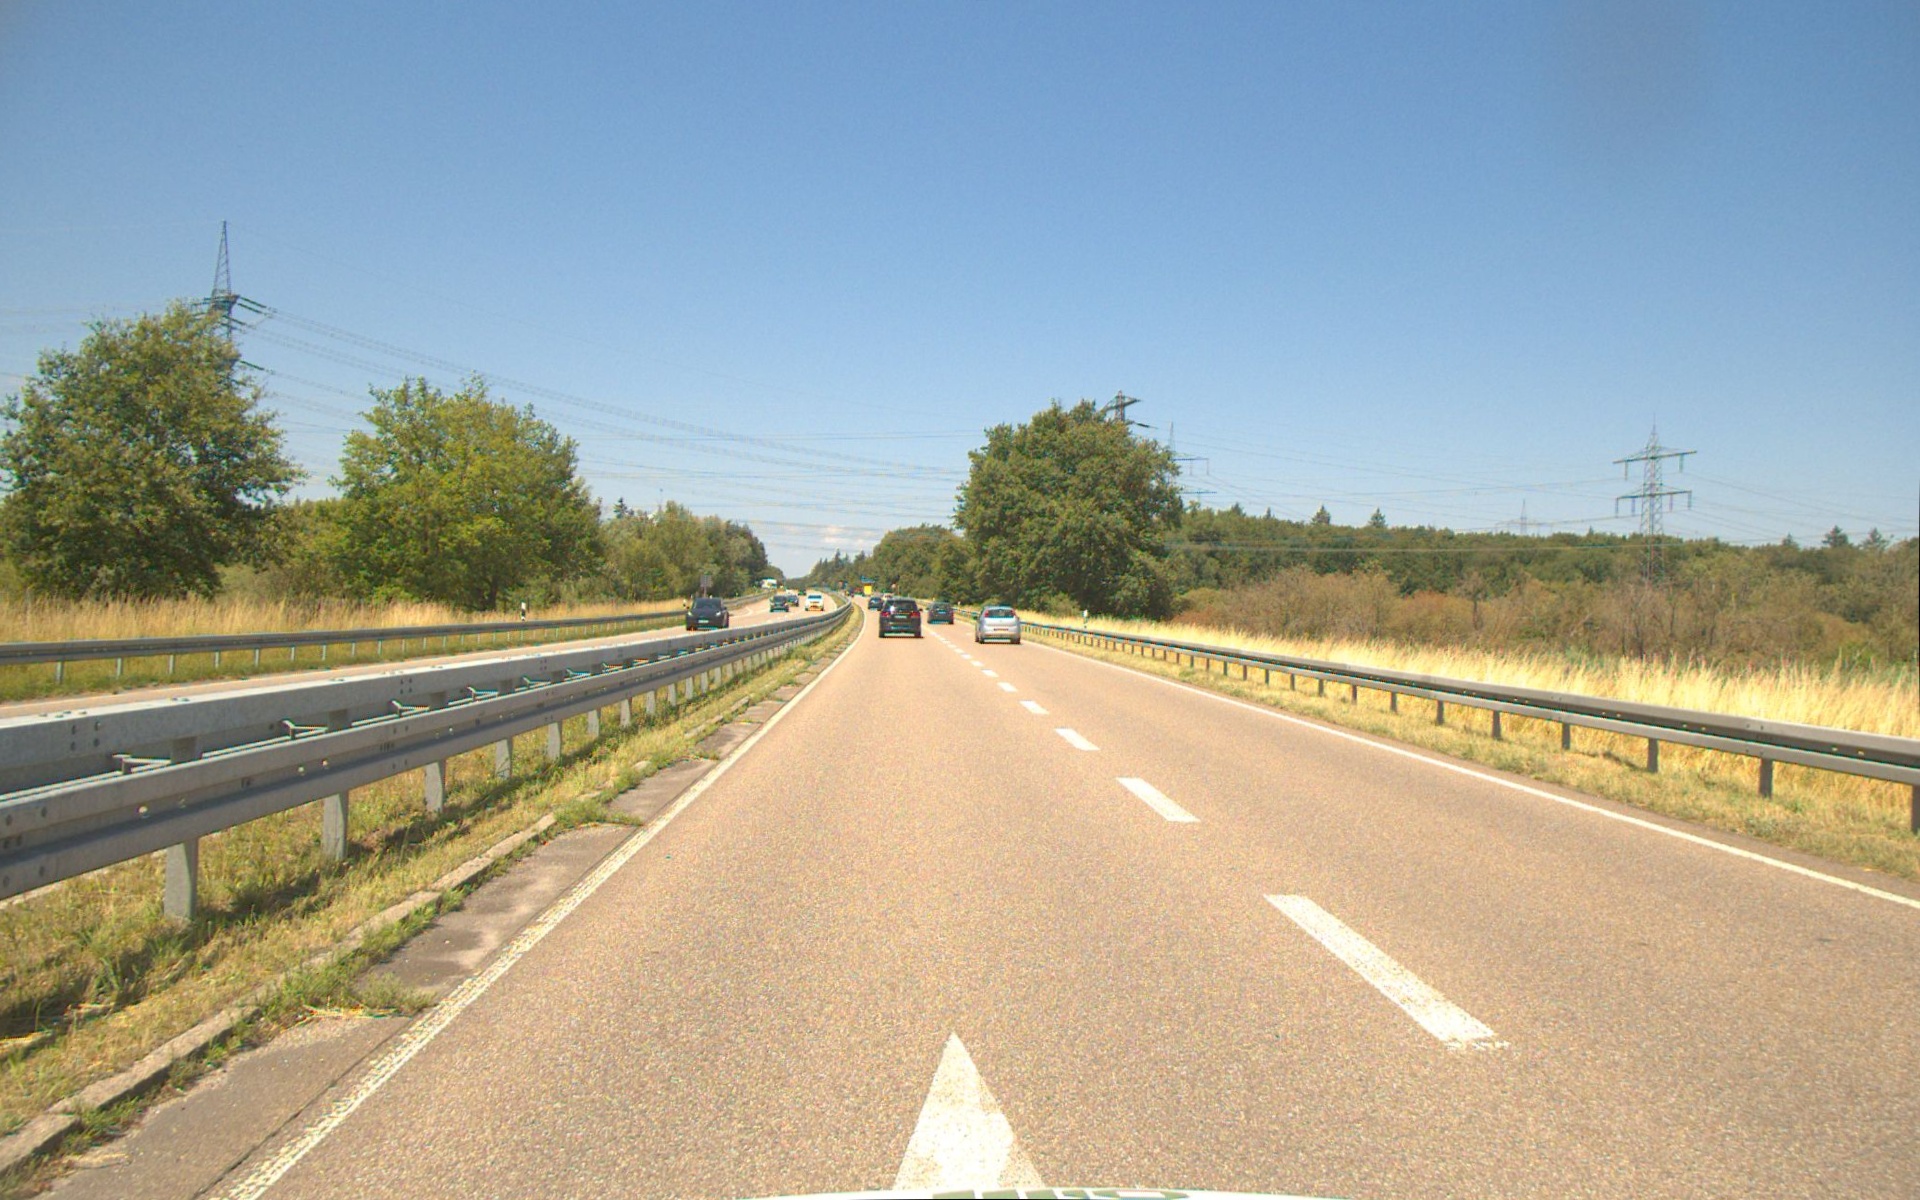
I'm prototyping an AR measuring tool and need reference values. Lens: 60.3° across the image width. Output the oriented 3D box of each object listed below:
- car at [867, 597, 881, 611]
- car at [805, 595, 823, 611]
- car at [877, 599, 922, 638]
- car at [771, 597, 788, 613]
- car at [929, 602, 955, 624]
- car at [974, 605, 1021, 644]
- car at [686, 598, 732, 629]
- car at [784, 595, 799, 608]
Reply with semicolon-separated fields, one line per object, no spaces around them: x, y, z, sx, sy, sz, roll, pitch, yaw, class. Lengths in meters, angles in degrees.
-9.908;0.461;191.166;1.484;1.501;3.065;1;0;-1;car
-15.619;0.329;176.930;1.955;1.691;3.996;1;0;-5;car
-2.706;0.822;74.827;1.953;1.683;3.999;1;0;-1;car
-17.823;0.484;163.209;1.583;1.501;3.063;1;0;-5;car
-1.286;0.901;115.664;1.782;1.439;3.999;1;0;-1;car
1.487;0.986;67.159;1.743;1.505;4.314;1;0;-1;car
-12.881;0.683;85.050;1.794;1.501;3.683;1;0;-1;car
-21.068;0.165;206.763;1.484;1.500;3.065;4;0;-2;car
